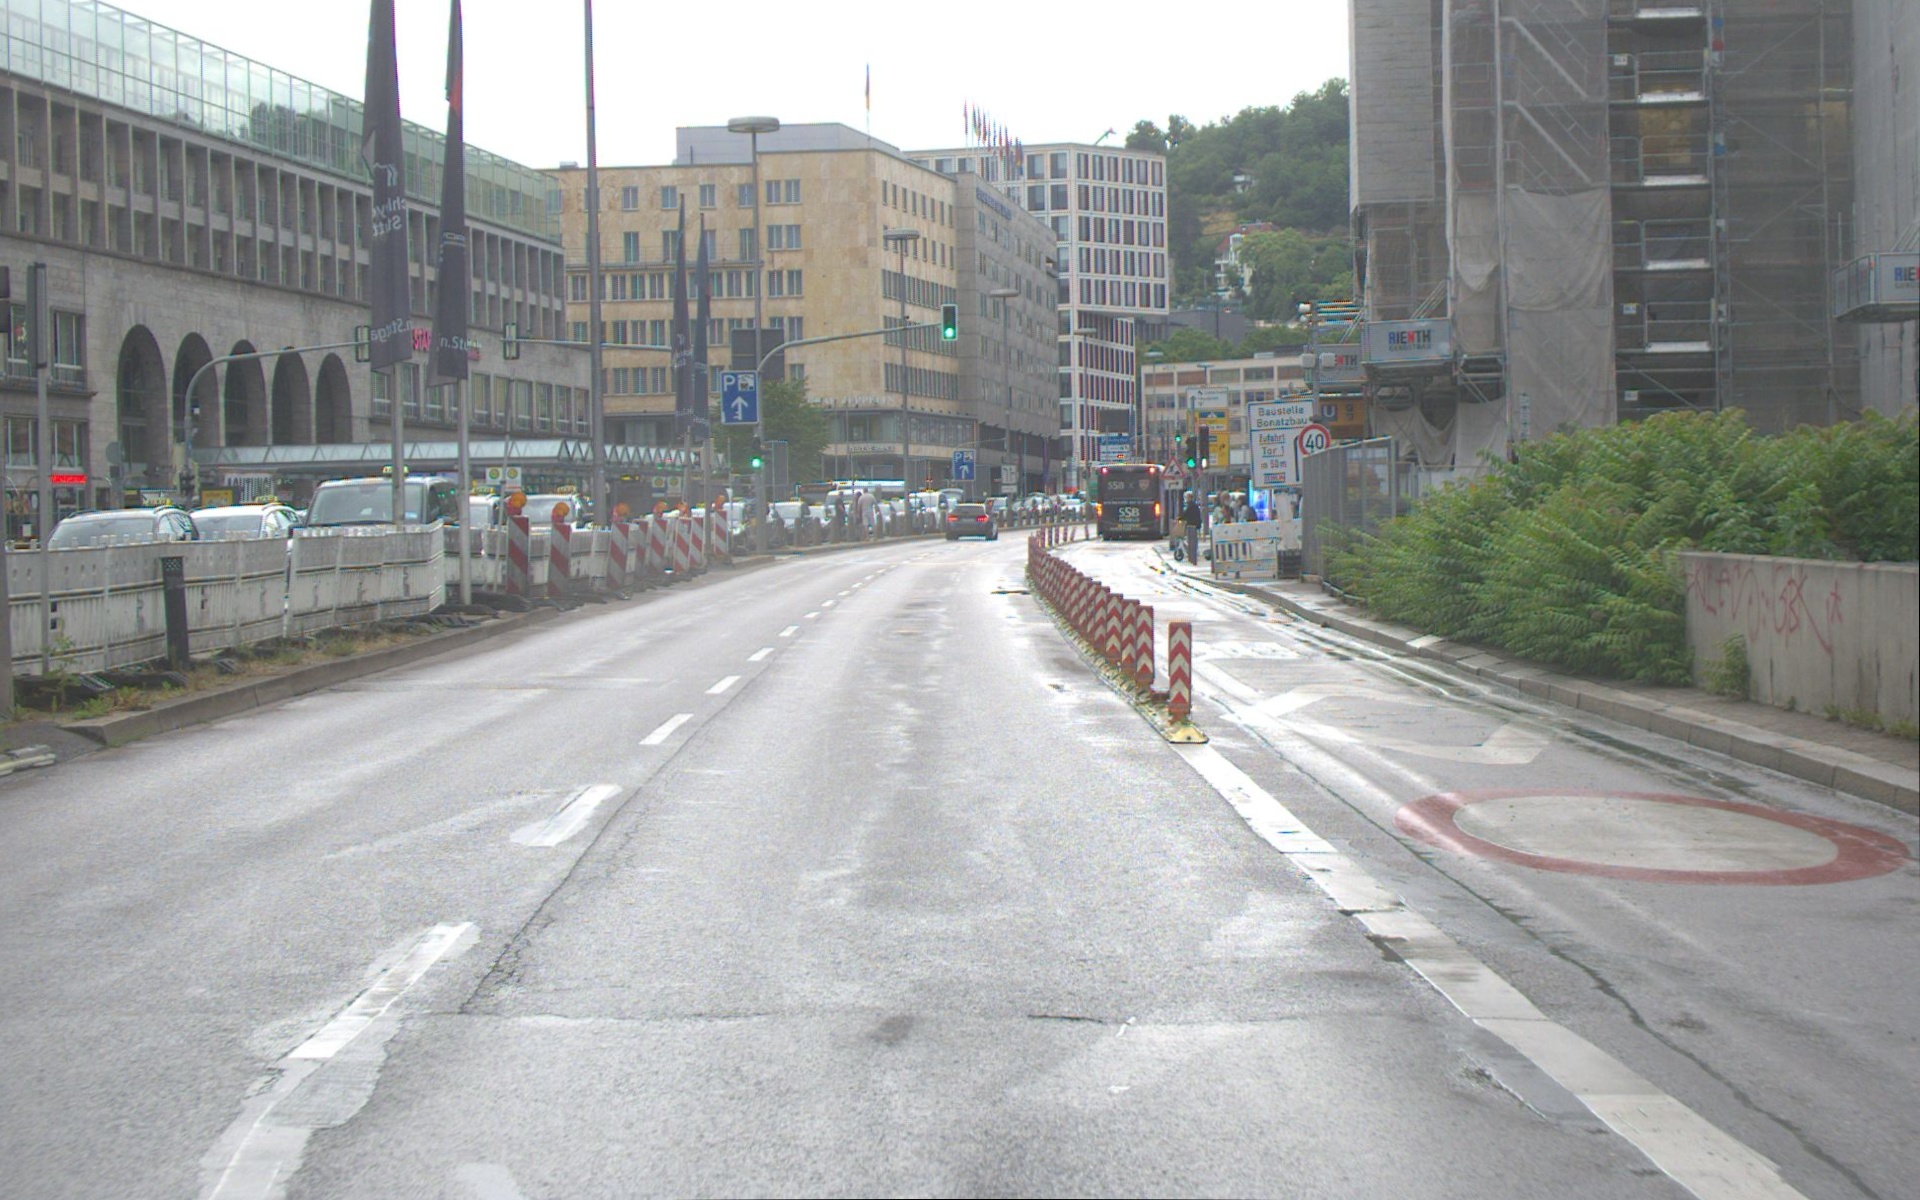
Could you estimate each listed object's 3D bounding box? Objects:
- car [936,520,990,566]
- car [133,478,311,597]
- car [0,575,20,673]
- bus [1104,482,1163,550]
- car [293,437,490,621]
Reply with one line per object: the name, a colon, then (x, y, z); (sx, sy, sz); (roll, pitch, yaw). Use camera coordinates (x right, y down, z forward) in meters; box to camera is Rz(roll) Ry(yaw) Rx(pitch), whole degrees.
car: (0.104, -2.218, 134.530); (1.902, 1.523, 4.177); (-3, -2, -2)
car: (-11.347, -0.926, 53.109); (1.902, 1.523, 4.177); (-3, -2, -2)
car: (-16.128, 0.375, 53.504); (1.902, 1.523, 4.177); (-3, -2, -2)
bus: (7.014, -3.380, 138.679); (1.994, 2.423, 3.999); (-3, -2, 6)
car: (-7.372, -0.873, 44.916); (1.902, 2.076, 4.177); (-3, -2, -2)
